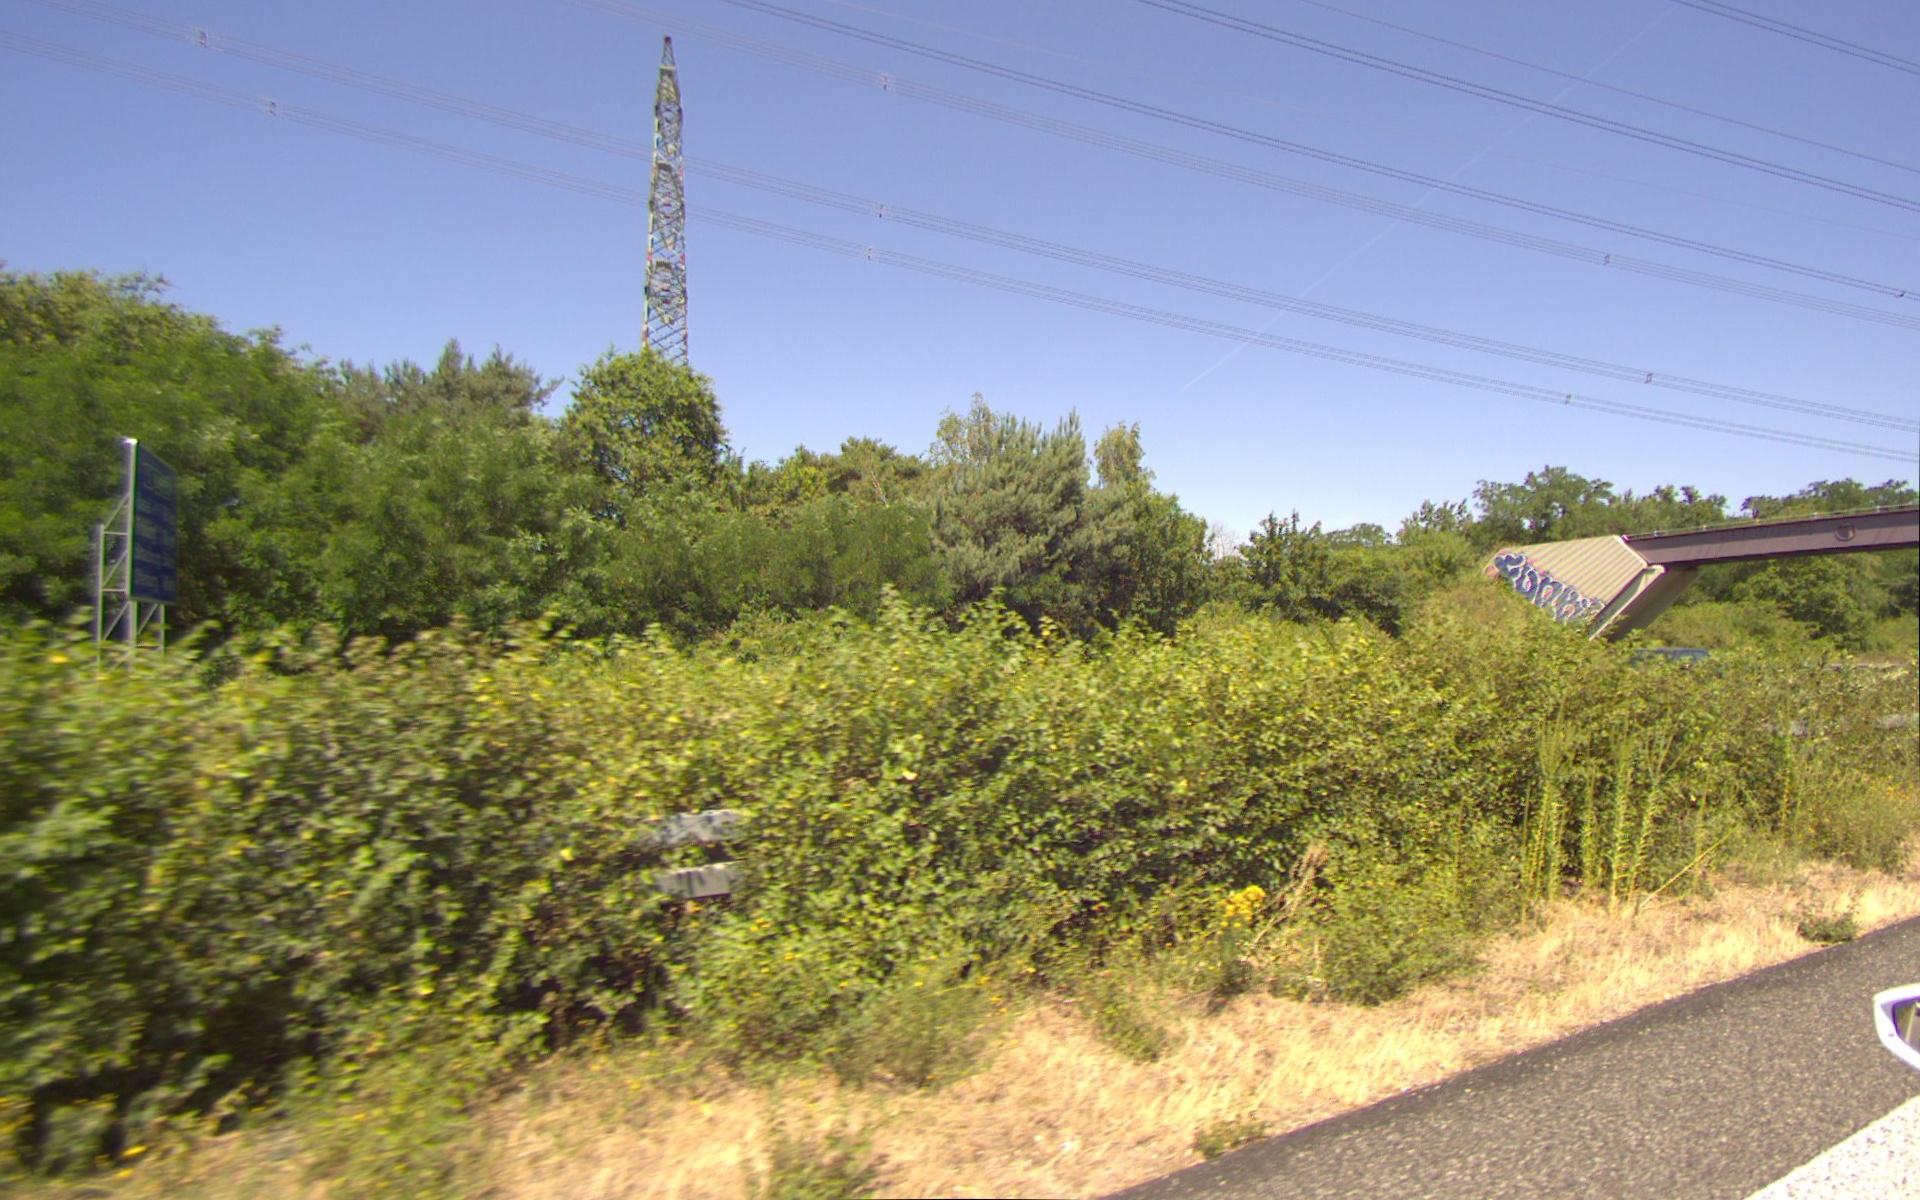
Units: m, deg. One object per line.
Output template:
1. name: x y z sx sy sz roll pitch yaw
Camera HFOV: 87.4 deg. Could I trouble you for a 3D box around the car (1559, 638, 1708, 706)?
1. car: 16.417 1.701 24.467 3.577 1.554 1.693 1 -3 -32
